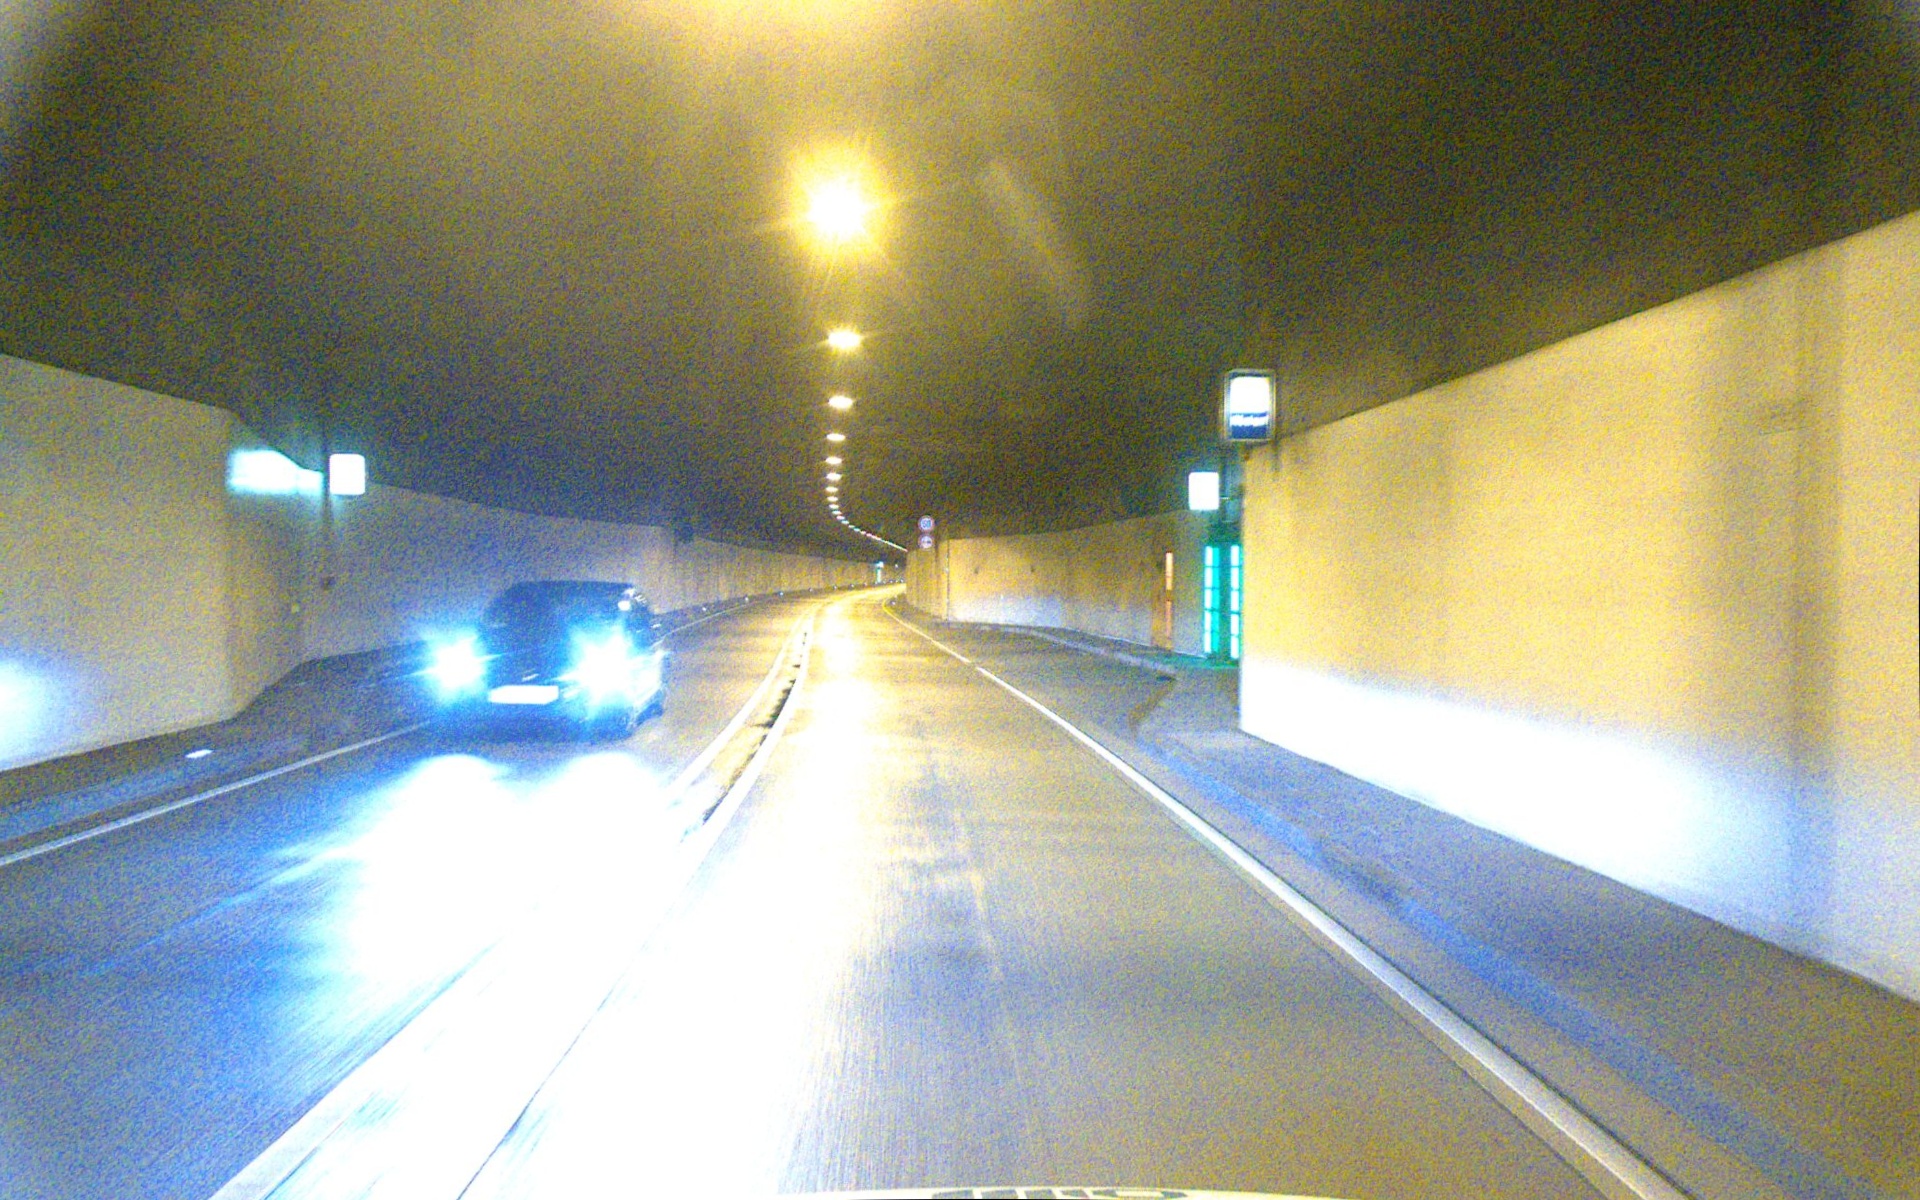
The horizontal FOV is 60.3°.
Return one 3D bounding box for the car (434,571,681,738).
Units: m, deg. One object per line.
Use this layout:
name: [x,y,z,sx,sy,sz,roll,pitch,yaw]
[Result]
car: [-3.908,0.455,16.715,1.673,1.440,4.115,1,1,-3]
